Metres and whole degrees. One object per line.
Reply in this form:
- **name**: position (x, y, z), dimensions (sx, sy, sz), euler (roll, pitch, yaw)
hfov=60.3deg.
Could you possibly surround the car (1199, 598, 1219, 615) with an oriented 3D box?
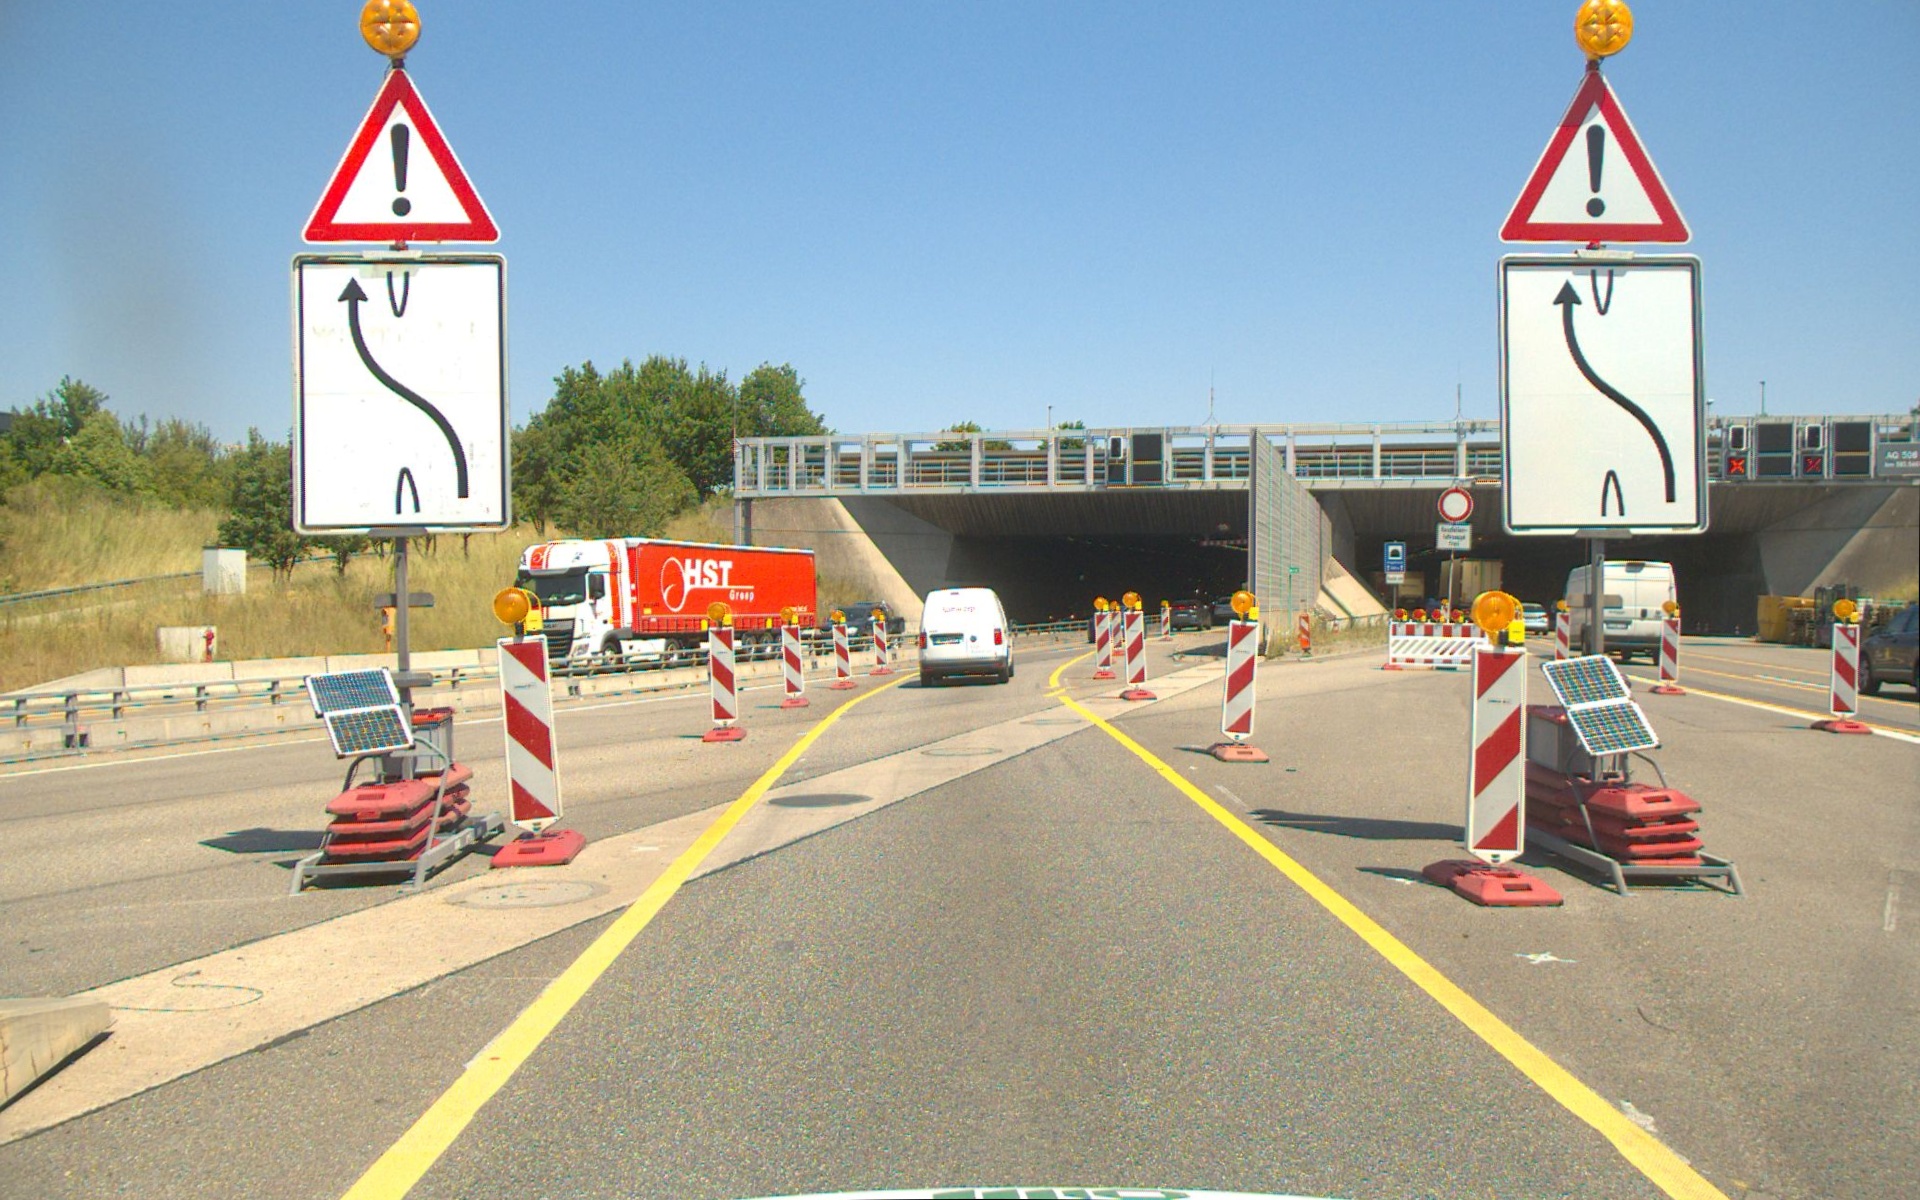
- **car**: position (27.869, 0.735, 185.263), dimensions (1.736, 1.695, 4.811), euler (-3, 0, 14)

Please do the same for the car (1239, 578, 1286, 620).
- **car**: position (21.639, -0.064, 118.022), dimensions (2.754, 2.822, 7.106), euler (1, 0, 15)

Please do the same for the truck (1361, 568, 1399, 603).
- **truck**: position (53.869, -1.769, 212.650), dimensions (3.329, 4.142, 16.549), euler (1, 0, 9)

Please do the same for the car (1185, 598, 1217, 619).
- **car**: position (20.014, 0.674, 137.358), dimensions (1.707, 1.621, 4.228), euler (-3, -1, 21)

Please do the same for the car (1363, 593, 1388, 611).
- **car**: position (40.157, 0.205, 159.862), dimensions (1.776, 1.658, 4.193), euler (2, 0, 7)

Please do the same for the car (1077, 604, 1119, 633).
- **car**: position (9.522, 1.292, 114.065), dimensions (1.652, 1.866, 4.789), euler (-3, -1, 19)

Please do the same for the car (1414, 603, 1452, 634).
- **car**: position (26.888, 1.062, 94.098), dimensions (1.776, 1.671, 4.656), euler (1, 0, 13)

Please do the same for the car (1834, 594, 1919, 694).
- **car**: position (17.465, 0.766, 29.259), dimensions (1.976, 1.692, 5.241), euler (1, 0, 10)

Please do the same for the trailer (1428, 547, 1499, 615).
- **trailer**: position (33.220, -1.122, 109.550), dimensions (2.674, 4.133, 14.106), euler (1, 0, 10)

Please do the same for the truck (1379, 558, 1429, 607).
- **truck**: position (46.176, -1.730, 172.642), dimensions (3.329, 4.411, 16.548), euler (2, -1, 9)

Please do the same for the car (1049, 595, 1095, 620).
- **car**: position (7.017, 0.474, 103.423), dimensions (1.653, 1.419, 3.999), euler (-3, -1, 22)

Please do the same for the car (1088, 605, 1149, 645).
- **car**: position (6.433, 0.979, 66.869), dimensions (1.770, 1.564, 4.413), euler (-1, 0, 14)

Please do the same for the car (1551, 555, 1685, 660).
- **car**: position (17.697, 0.209, 44.820), dimensions (2.217, 2.580, 6.590), euler (1, 0, 11)

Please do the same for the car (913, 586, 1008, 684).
- **car**: position (0.033, 0.666, 32.940), dimensions (1.771, 1.825, 3.731), euler (-1, 0, 1)

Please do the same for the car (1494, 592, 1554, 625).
- **car**: position (27.151, 0.436, 79.729), dimensions (1.776, 1.490, 4.656), euler (2, 0, 7)

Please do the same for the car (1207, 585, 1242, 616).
- **car**: position (16.069, 0.032, 100.480), dimensions (1.770, 1.781, 4.413), euler (-1, 0, 13)

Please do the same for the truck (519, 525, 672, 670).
- **truck**: position (-11.011, -0.047, 50.336), dimensions (2.285, 4.180, 5.019), euler (-1, -1, 18)

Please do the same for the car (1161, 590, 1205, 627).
- **car**: position (11.433, 0.448, 84.655), dimensions (1.770, 1.847, 4.413), euler (-1, 0, 13)

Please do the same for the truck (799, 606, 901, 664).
- **truck**: position (-3.909, 1.229, 59.533), dimensions (1.952, 1.906, 4.763), euler (-1, 0, 19)

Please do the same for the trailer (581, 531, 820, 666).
- **trailer**: position (-8.601, -0.004, 57.492), dimensions (2.289, 4.174, 13.266), euler (-1, -1, 19)
